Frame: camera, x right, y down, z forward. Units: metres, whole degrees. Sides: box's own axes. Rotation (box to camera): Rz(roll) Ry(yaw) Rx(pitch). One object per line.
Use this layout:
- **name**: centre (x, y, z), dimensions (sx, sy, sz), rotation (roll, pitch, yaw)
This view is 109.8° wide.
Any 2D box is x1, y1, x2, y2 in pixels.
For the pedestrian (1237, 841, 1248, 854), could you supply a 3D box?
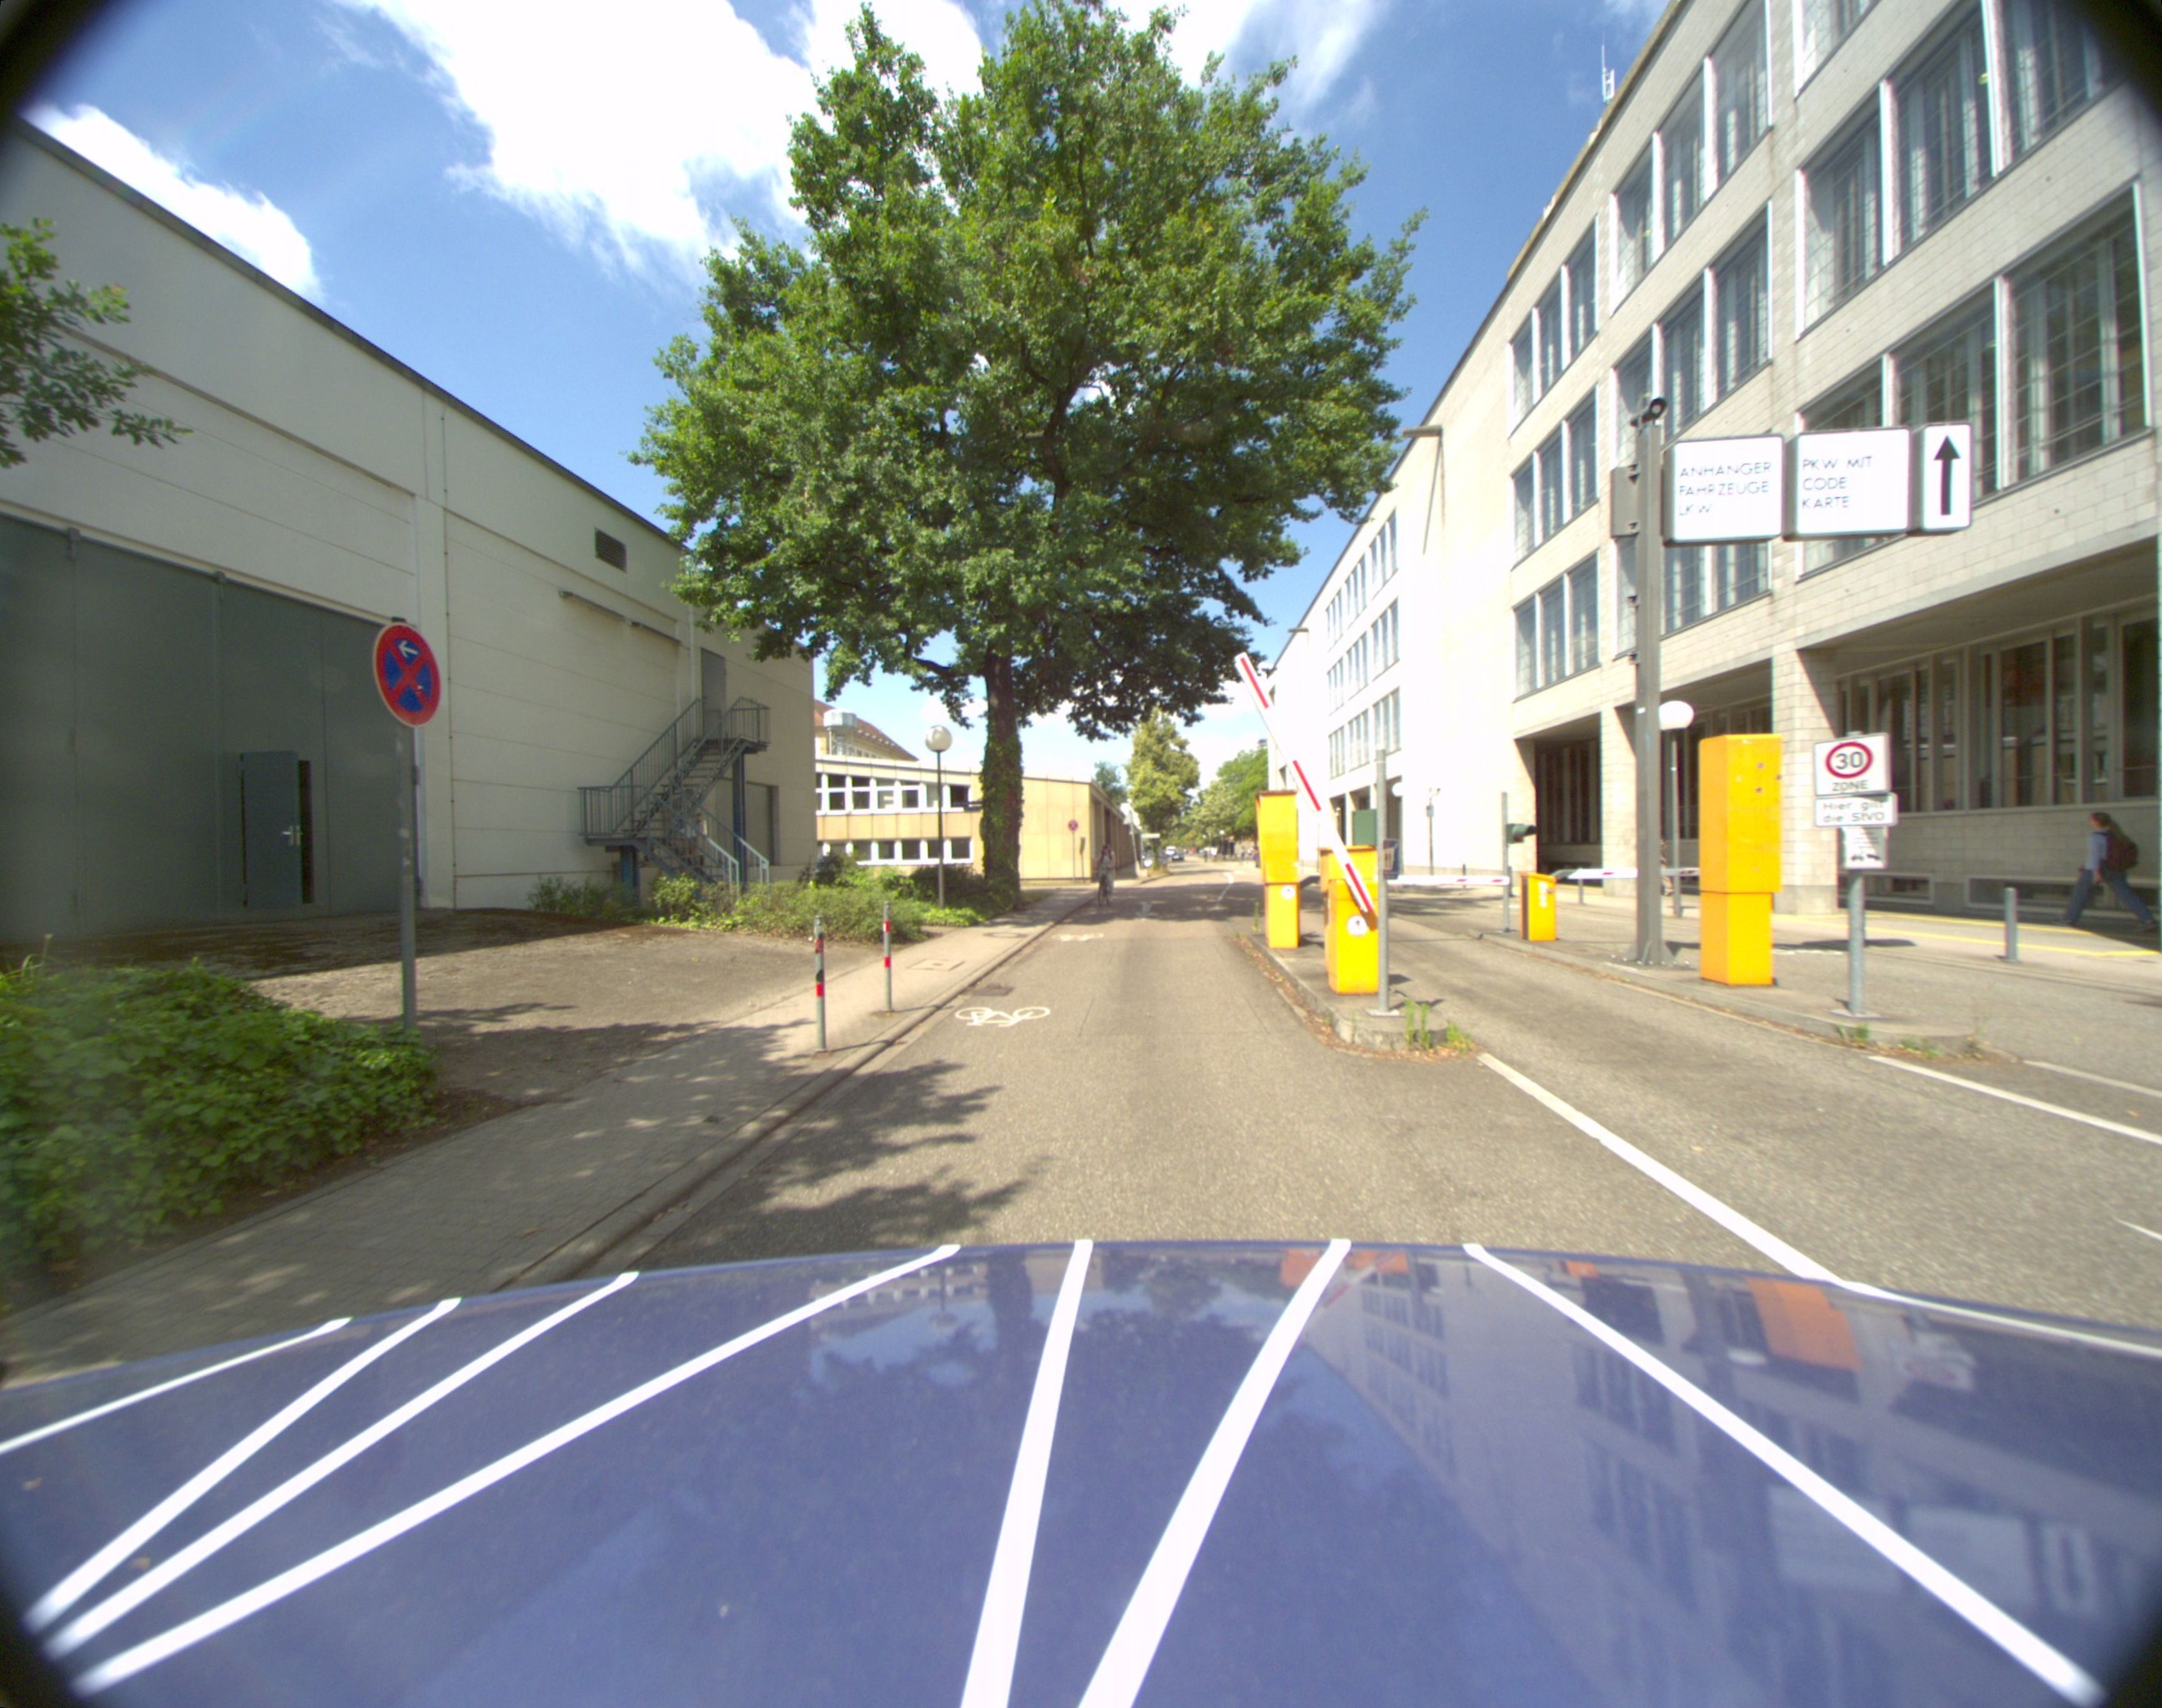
- **pedestrian**: centre (24.915, -0.964, 117.311), dimensions (1.399, 2.002, 1.370), rotation (-2, 1, 6)

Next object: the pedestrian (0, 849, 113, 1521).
- **pedestrian**: centre (-3.087, 0.831, 1.467), dimensions (0.741, 1.665, 1.256), rotation (-1, 1, 3)

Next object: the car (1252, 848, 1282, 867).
- **car**: centre (14.679, 0.221, 60.100), dimensions (1.729, 1.414, 4.666), rotation (-2, 0, 6)

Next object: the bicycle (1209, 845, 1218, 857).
- **bicycle**: centre (16.519, -0.339, 94.560), dimensions (0.639, 1.485, 1.935), rotation (-2, 1, -2)

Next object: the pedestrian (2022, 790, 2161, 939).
- **pedestrian**: centre (14.403, 0.140, 10.748), dimensions (0.850, 2.002, 1.066), rotation (-1, 1, 4)

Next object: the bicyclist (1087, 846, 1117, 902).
- **bicyclist**: centre (0.580, 0.529, 20.703), dimensions (0.780, 1.478, 0.696), rotation (-1, 1, 4)

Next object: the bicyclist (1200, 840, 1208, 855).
- **bicyclist**: centre (15.089, -0.786, 93.199), dimensions (0.761, 1.766, 0.733), rotation (-2, 1, -4)

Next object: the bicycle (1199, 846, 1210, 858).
- **bicycle**: centre (15.123, -0.272, 93.293), dimensions (0.798, 1.485, 2.061), rotation (-2, 1, -4)

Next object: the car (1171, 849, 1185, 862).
- **car**: centre (14.019, 0.133, 109.509), dimensions (1.997, 1.805, 4.002), rotation (-1, 0, 8)

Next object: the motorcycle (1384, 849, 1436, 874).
- **motorcycle**: centre (15.573, 0.370, 36.005), dimensions (2.172, 1.131, 0.774), rotation (-1, 1, -4)

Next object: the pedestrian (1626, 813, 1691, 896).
- **pedestrian**: centre (14.406, 0.007, 18.976), dimensions (0.850, 2.002, 1.066), rotation (-1, 1, 4)

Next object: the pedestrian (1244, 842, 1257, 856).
- **pedestrian**: centre (21.556, -0.630, 96.732), dimensions (1.399, 1.814, 1.370), rotation (-2, 1, 6)

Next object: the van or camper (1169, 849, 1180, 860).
- **van or camper**: centre (20.366, 0.077, 164.794), dimensions (1.996, 2.348, 4.387), rotation (-1, 0, 12)

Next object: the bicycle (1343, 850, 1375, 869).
- **bicycle**: centre (16.494, 0.337, 45.126), dimensions (1.643, 1.080, 0.608), rotation (-2, 1, 1)

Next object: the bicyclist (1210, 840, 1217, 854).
- **bicyclist**: centre (16.503, -0.899, 94.505), dimensions (0.609, 1.755, 0.696), rotation (-2, 1, -2)

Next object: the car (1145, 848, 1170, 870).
- **car**: centre (5.694, 0.342, 56.523), dimensions (1.759, 1.559, 3.819), rotation (0, 1, 6)

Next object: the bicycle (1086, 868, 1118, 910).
- **bicycle**: centre (0.596, 0.924, 20.747), dimensions (0.780, 1.042, 1.913), rotation (-1, 0, 4)

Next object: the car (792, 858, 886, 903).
- **car**: centre (-8.720, 0.908, 27.768), dimensions (1.670, 1.468, 4.183), rotation (-1, 1, 6)

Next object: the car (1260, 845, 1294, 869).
- **car**: centre (14.012, 0.182, 54.576), dimensions (1.730, 1.526, 4.407), rotation (-3, 1, 6)

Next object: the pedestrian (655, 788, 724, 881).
- **pedestrian**: centre (-8.715, -0.430, 16.952), dimensions (0.928, 2.002, 0.950), rotation (-1, 1, 10)

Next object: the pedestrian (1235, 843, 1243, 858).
- **pedestrian**: centre (19.245, -0.469, 92.474), dimensions (0.760, 1.715, 1.236), rotation (-4, 1, 17)
